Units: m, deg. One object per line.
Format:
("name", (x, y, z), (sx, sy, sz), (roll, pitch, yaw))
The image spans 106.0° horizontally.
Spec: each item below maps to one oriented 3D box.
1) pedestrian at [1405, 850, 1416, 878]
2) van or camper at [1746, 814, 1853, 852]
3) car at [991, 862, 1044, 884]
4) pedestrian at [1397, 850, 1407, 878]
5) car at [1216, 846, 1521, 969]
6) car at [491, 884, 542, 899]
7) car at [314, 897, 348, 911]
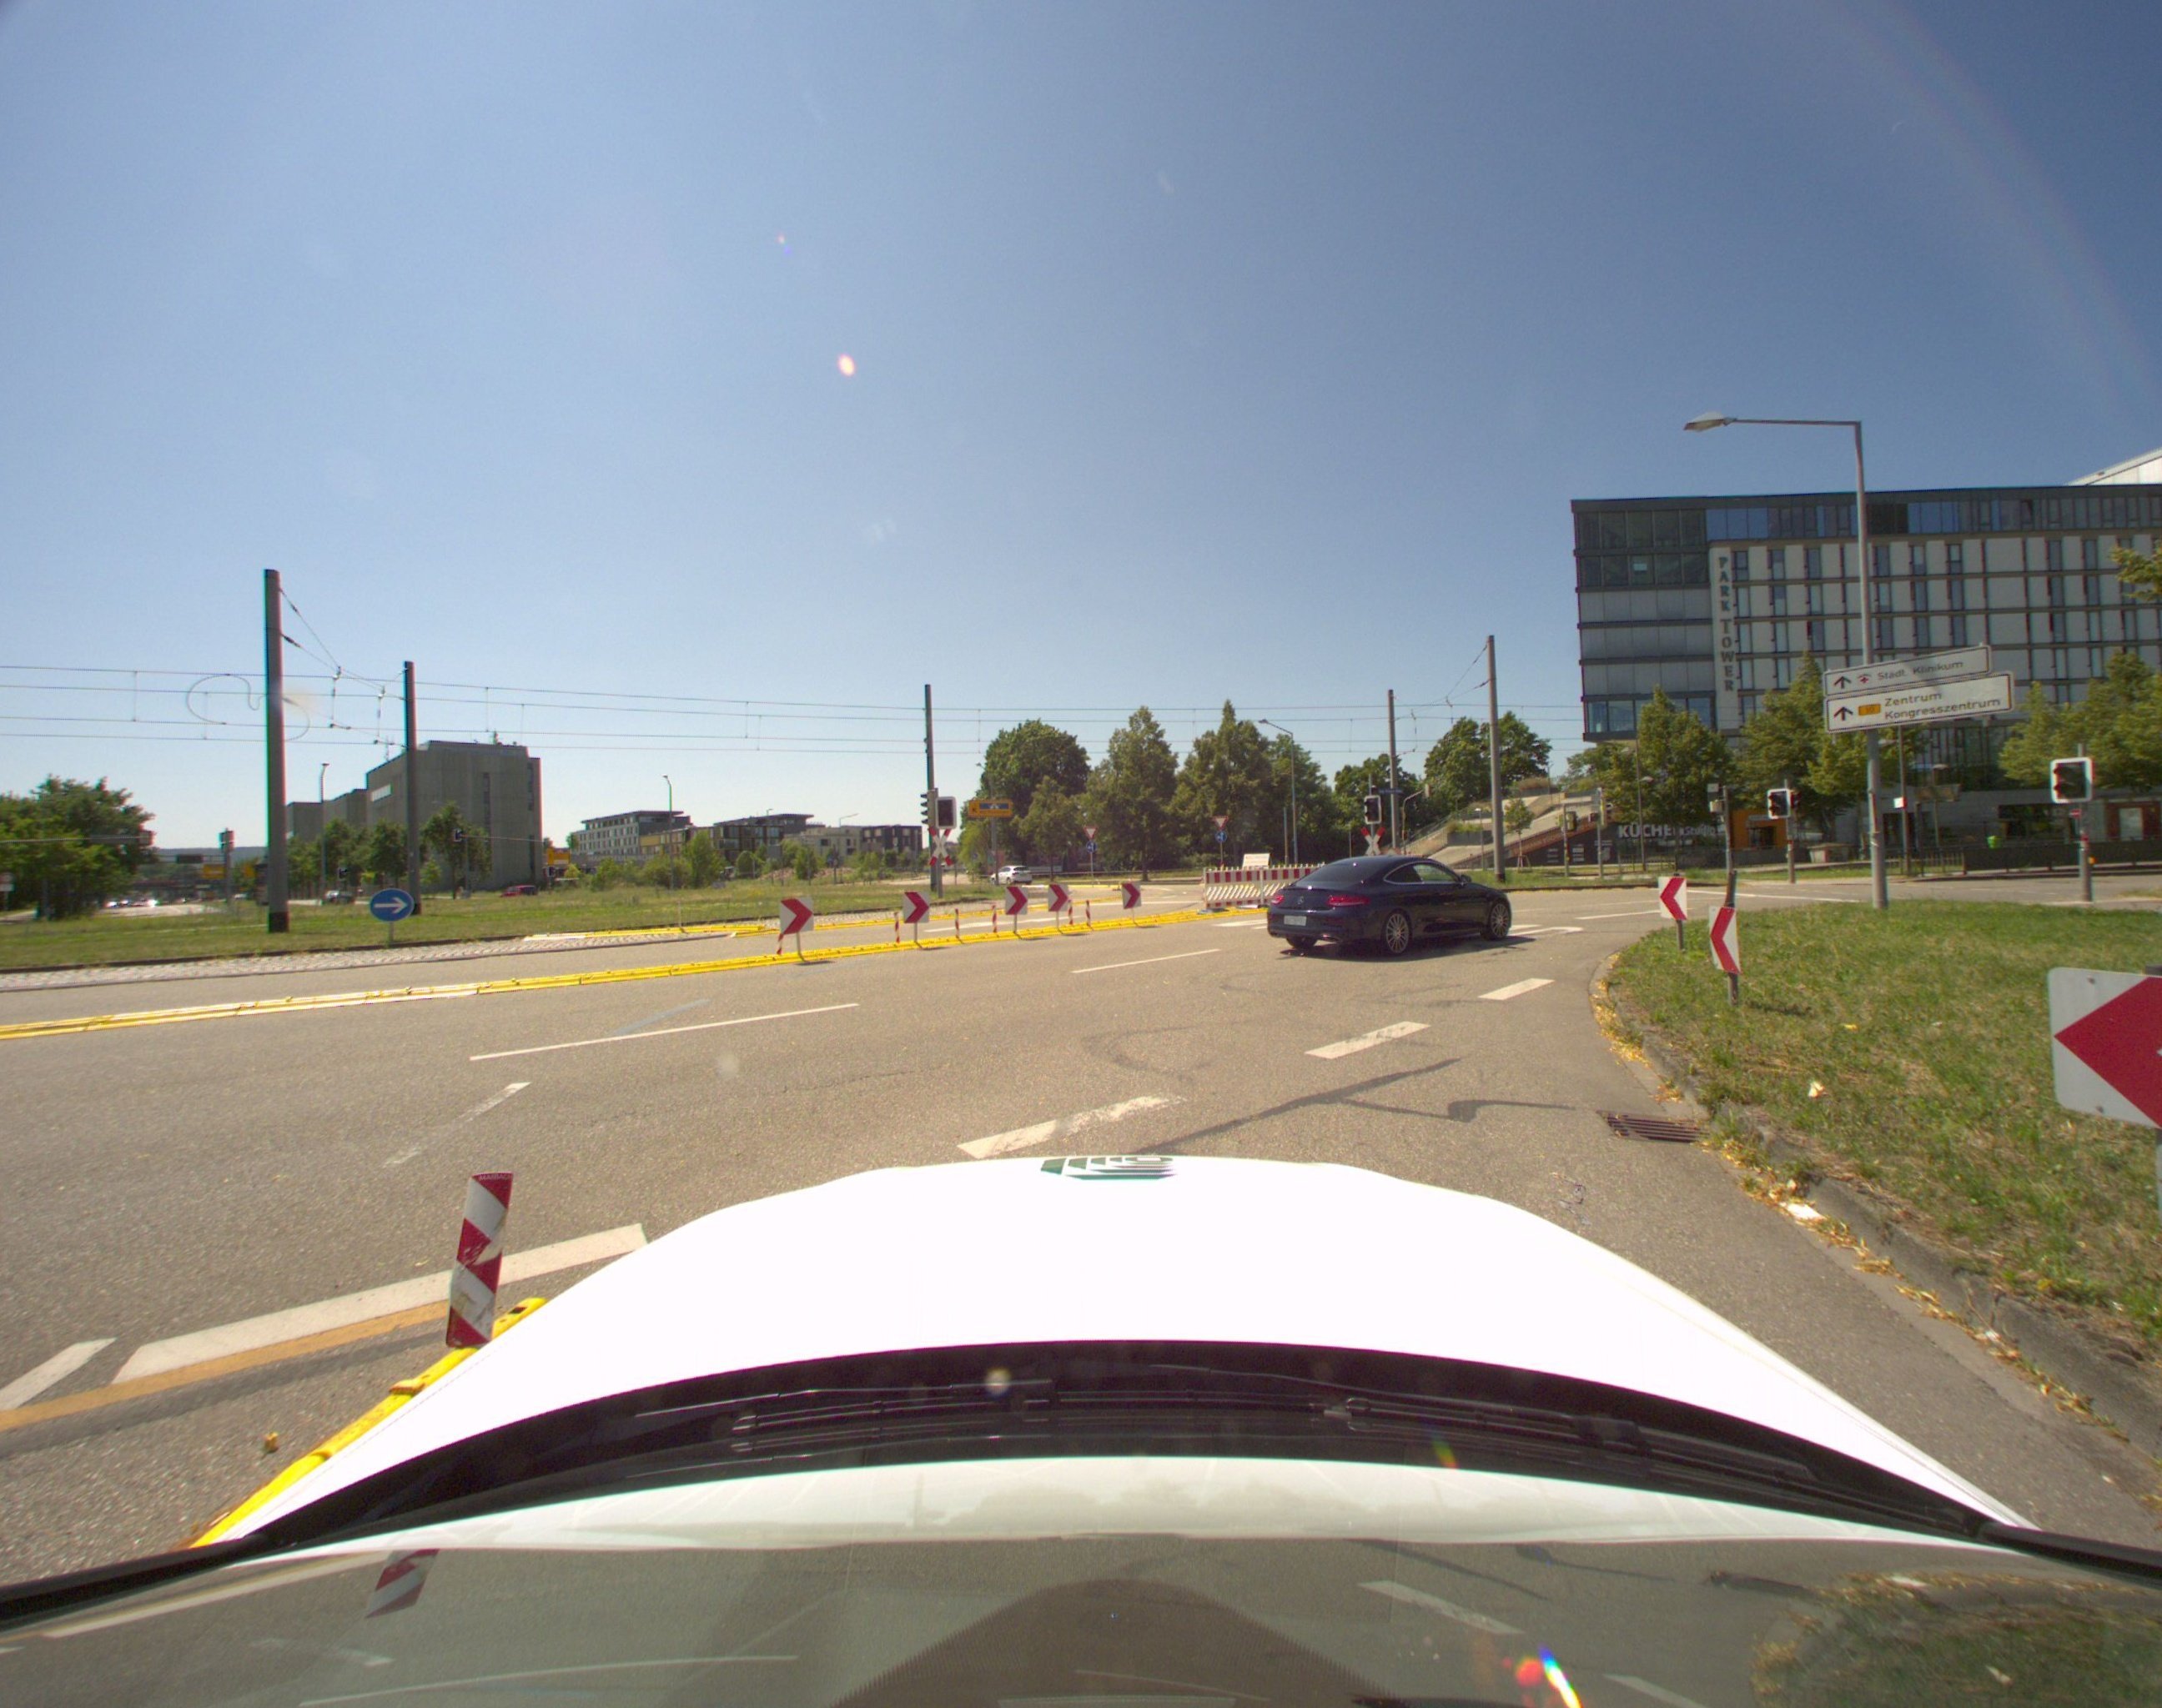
("pedestrian", (20.584, 0.637, 50.886), (0.446, 1.739, 0.318), (-2, -1, -2))
("van or camper", (57.837, -1.650, 65.639), (6.751, 2.822, 2.380), (-2, -1, -4))
("car", (-4.783, 1.444, 60.686), (2.009, 1.486, 4.319), (-2, -1, -35))
("pedestrian", (20.024, 0.629, 50.875), (0.446, 1.739, 0.291), (-2, -1, -2))
("car", (4.471, 0.658, 12.257), (4.977, 1.436, 1.837), (-1, 0, -37))
("car", (-46.940, 3.081, 67.726), (3.485, 1.089, 1.503), (-2, 0, 12))
("car", (-71.817, 4.753, 77.953), (3.432, 1.192, 1.565), (-2, -1, 32))
